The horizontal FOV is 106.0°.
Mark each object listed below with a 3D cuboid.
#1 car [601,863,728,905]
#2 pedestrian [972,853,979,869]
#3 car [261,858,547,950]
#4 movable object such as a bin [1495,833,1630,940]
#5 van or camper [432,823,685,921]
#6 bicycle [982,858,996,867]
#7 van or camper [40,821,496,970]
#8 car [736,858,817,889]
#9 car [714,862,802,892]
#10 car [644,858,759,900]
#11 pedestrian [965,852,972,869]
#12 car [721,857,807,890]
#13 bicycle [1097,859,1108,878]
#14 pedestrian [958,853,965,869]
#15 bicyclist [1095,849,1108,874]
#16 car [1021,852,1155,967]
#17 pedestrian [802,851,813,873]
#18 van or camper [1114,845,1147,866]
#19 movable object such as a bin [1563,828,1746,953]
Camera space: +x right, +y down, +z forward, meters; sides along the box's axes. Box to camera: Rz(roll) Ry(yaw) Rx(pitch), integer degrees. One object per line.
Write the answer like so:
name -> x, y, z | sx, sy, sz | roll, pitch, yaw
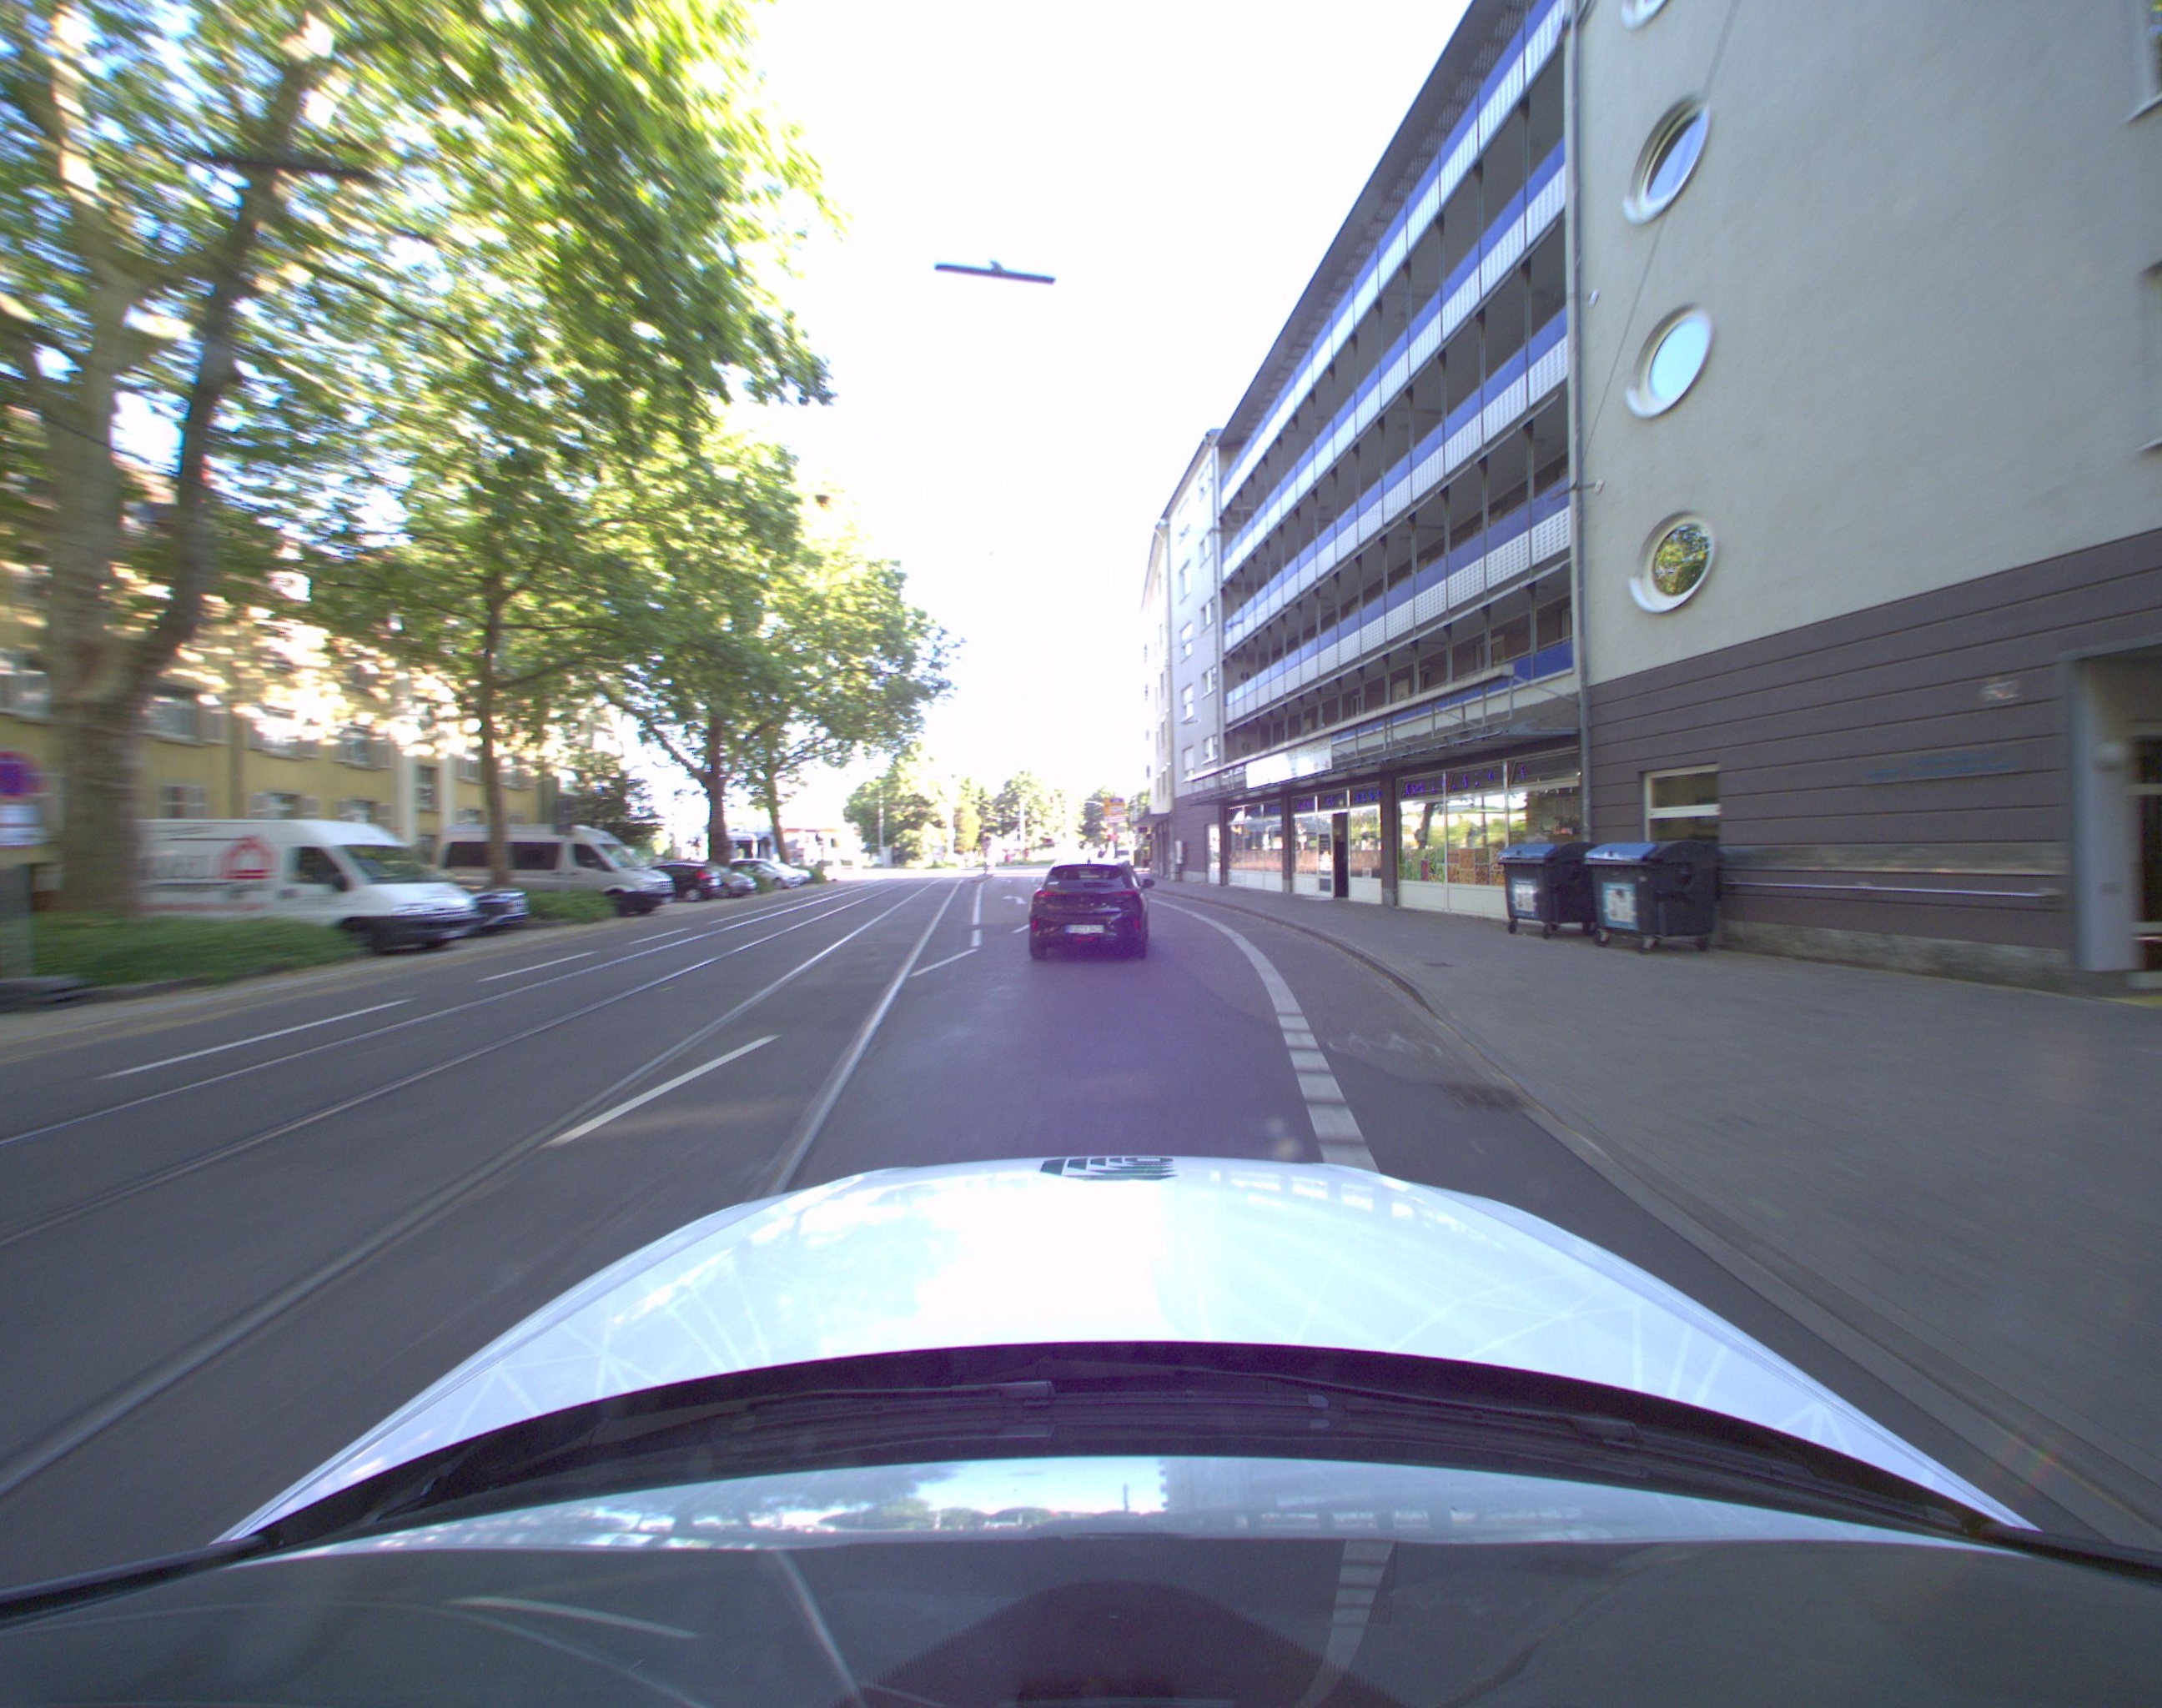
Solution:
car -> -15.896, 1.130, 31.243 | 3.982, 1.515, 1.646 | 0, 0, -7
pedestrian -> -12.437, 0.790, 95.740 | 0.611, 1.853, 0.586 | 0, -1, 17
car -> -14.123, 0.987, 17.273 | 4.169, 1.671, 1.957 | -1, 0, -11
movable object such as a bin -> 7.365, 0.473, 12.541 | 1.109, 1.484, 1.384 | -3, 0, -7
van or camper -> -14.885, 0.477, 23.569 | 5.718, 2.644, 2.264 | 0, 0, -7
bicycle -> -9.567, 0.874, 84.764 | 0.783, 0.992, 2.249 | 0, 0, 9
van or camper -> -13.966, 0.656, 14.369 | 5.491, 2.379, 2.266 | 0, 0, -4
car -> -17.980, 1.105, 48.283 | 4.169, 1.671, 1.957 | -2, 0, -11
car -> -16.914, 1.175, 42.825 | 3.982, 1.515, 1.646 | 0, 0, -7
car -> -15.740, 1.019, 33.926 | 3.982, 1.651, 1.646 | 0, 0, -7
pedestrian -> -13.243, 0.747, 95.872 | 0.651, 1.932, 0.612 | 0, -1, 24
car -> -17.744, 1.074, 45.803 | 4.169, 1.671, 1.957 | -1, 0, -11
bicycle -> 1.235, 0.825, 47.018 | 0.505, 1.067, 1.566 | -1, 0, 5
pedestrian -> -13.944, 0.794, 94.870 | 0.611, 1.853, 0.586 | 0, -1, 18
bicyclist -> 1.187, 0.444, 46.949 | 0.702, 1.435, 0.703 | -1, 0, 5
car -> 0.216, 0.734, 12.848 | 1.774, 1.496, 4.004 | -1, 0, 3
pedestrian -> -28.143, 0.790, 83.850 | 0.826, 2.220, 0.889 | 0, -1, -42
van or camper -> 5.220, 0.205, 85.410 | 2.149, 2.146, 4.530 | 0, 0, 23
movable object such as a bin -> 7.582, 0.447, 10.882 | 1.185, 1.484, 1.591 | -3, 0, -7
